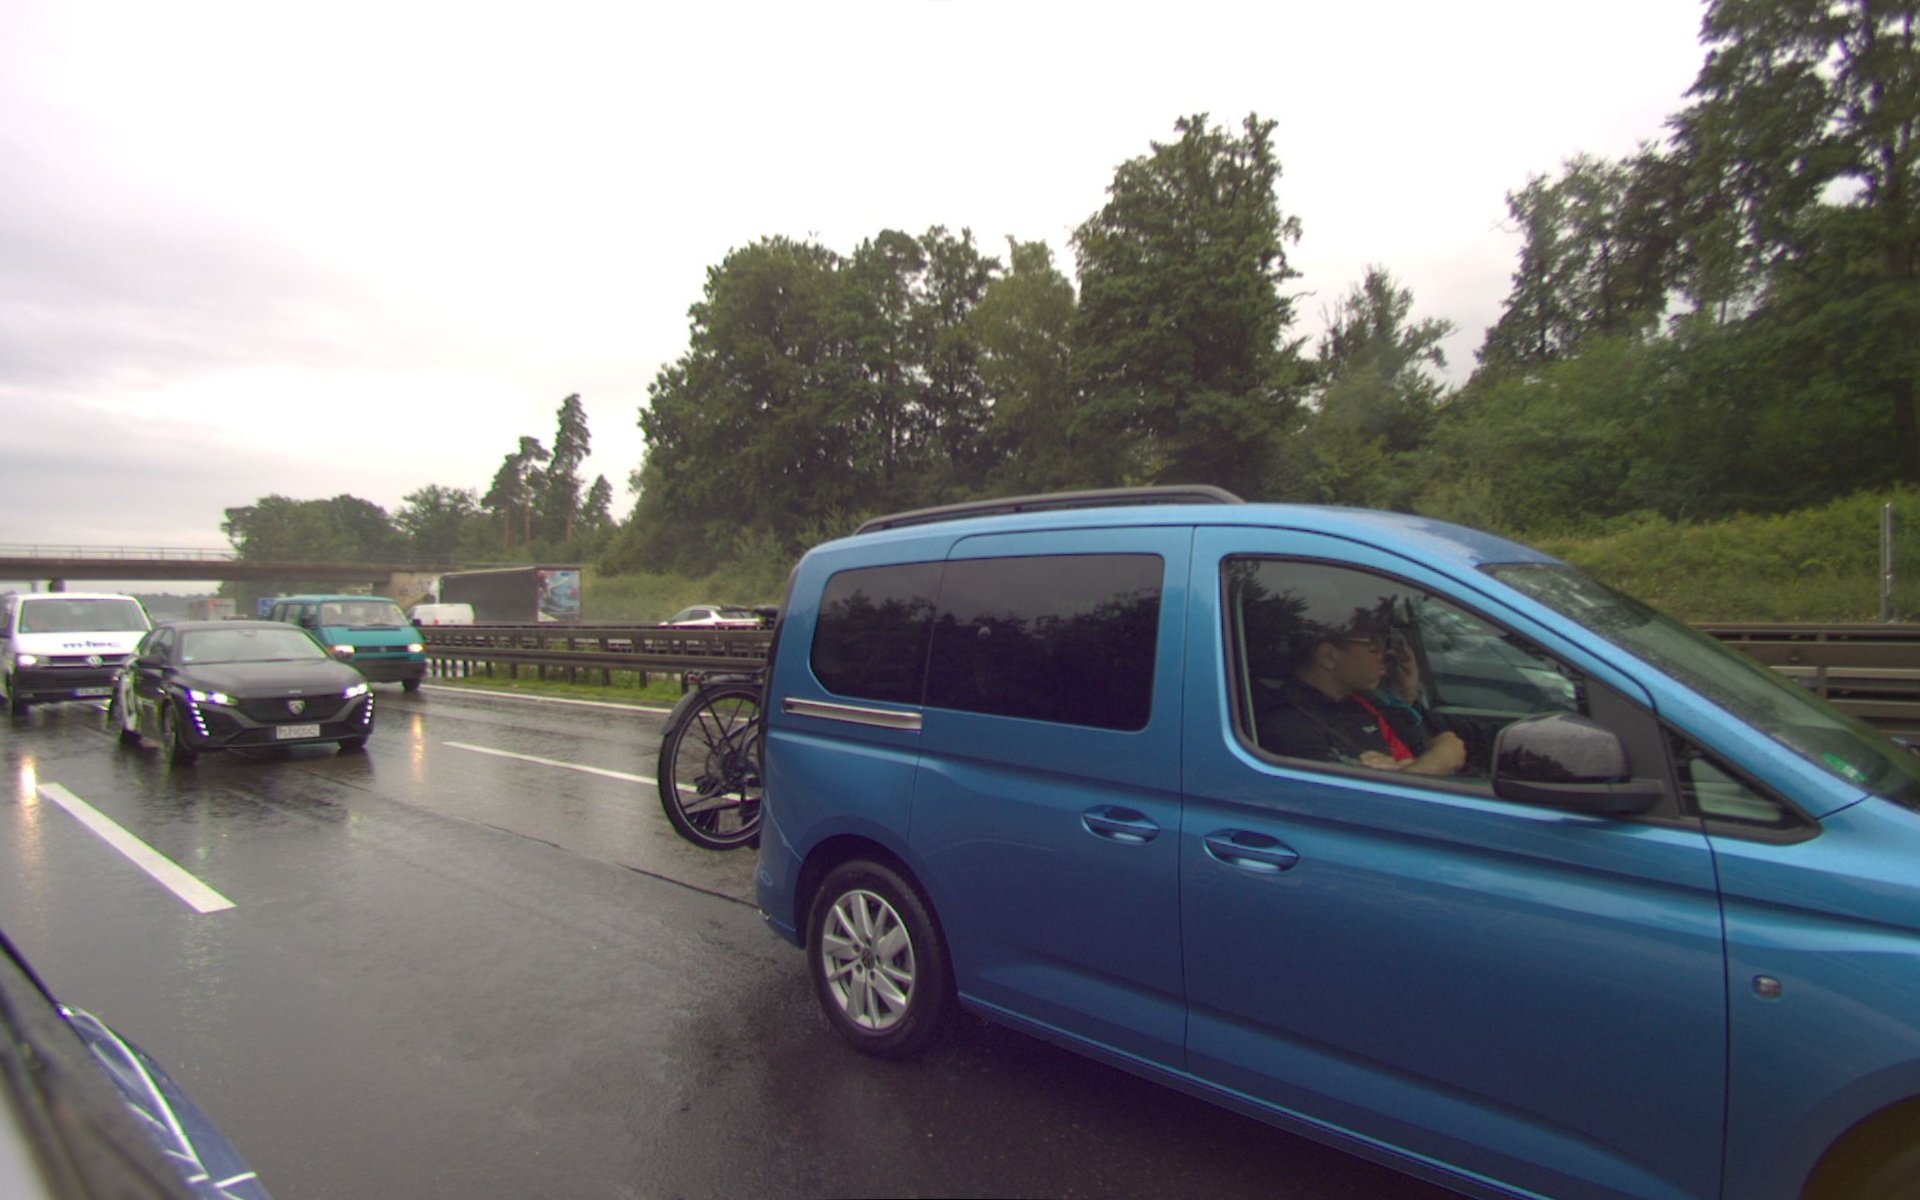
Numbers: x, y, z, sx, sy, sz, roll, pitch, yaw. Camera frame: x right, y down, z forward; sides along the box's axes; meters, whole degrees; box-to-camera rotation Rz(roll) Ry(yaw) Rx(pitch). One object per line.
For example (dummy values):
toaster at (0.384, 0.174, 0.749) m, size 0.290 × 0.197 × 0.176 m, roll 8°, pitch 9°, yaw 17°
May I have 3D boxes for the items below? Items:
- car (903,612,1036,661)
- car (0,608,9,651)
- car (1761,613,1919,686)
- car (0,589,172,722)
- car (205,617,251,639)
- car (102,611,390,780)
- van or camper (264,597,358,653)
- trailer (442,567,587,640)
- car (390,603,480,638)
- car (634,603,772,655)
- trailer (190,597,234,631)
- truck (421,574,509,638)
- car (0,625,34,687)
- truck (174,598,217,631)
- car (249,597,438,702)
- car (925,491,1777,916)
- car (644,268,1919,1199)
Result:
car at (0.251, 1.065, 29.976) m, size 3.755 × 1.314 × 1.683 m, roll -2°, pitch -1°, yaw 41°
car at (-36.810, 1.119, 37.516) m, size 4.767 × 1.572 × 1.968 m, roll -2°, pitch -1°, yaw 43°
car at (18.315, 0.946, 19.894) m, size 3.995 × 1.355 × 1.784 m, roll -1°, pitch -1°, yaw 38°
car at (-14.790, 0.837, 16.837) m, size 4.767 × 1.894 × 1.968 m, roll -2°, pitch -1°, yaw 43°
car at (-53.850, 2.079, 74.429) m, size 4.330 × 1.509 × 1.817 m, roll -2°, pitch -1°, yaw 41°
car at (-8.197, 0.914, 11.443) m, size 4.467 × 1.516 × 1.825 m, roll -1°, pitch -1°, yaw 43°
van or camper at (-29.942, 1.127, 46.621) m, size 5.699 × 2.441 × 2.204 m, roll -1°, pitch -1°, yaw 42°
trailer at (-26.346, 0.293, 59.203) m, size 13.566 × 3.847 × 2.990 m, roll -2°, pitch -1°, yaw 45°
car at (-23.932, 0.945, 46.074) m, size 4.702 × 1.519 × 1.974 m, roll -2°, pitch -2°, yaw 39°
car at (-8.133, 0.919, 31.796) m, size 4.707 × 1.519 × 1.972 m, roll -2°, pitch -2°, yaw 43°
trailer at (-87.597, 1.657, 118.475) m, size 9.007 × 3.847 × 2.653 m, roll -2°, pitch -1°, yaw 44°
truck at (-31.328, 0.408, 63.957) m, size 6.264 × 3.847 × 2.987 m, roll -2°, pitch -1°, yaw 43°
car at (-25.613, 1.433, 26.421) m, size 4.467 × 1.516 × 1.825 m, roll -1°, pitch -1°, yaw 43°
truck at (-94.375, 1.835, 124.873) m, size 10.028 × 3.961 × 2.674 m, roll -2°, pitch -1°, yaw 43°
car at (-12.586, 0.924, 20.538) m, size 4.756 × 1.877 × 1.891 m, roll -1°, pitch 0°, yaw 41°
car at (2.354, 0.506, 7.129) m, size 5.239 × 1.958 × 1.971 m, roll -1°, pitch 0°, yaw 41°
car at (1.286, 0.472, 3.296) m, size 5.016 × 1.926 × 2.245 m, roll -2°, pitch -1°, yaw 43°
